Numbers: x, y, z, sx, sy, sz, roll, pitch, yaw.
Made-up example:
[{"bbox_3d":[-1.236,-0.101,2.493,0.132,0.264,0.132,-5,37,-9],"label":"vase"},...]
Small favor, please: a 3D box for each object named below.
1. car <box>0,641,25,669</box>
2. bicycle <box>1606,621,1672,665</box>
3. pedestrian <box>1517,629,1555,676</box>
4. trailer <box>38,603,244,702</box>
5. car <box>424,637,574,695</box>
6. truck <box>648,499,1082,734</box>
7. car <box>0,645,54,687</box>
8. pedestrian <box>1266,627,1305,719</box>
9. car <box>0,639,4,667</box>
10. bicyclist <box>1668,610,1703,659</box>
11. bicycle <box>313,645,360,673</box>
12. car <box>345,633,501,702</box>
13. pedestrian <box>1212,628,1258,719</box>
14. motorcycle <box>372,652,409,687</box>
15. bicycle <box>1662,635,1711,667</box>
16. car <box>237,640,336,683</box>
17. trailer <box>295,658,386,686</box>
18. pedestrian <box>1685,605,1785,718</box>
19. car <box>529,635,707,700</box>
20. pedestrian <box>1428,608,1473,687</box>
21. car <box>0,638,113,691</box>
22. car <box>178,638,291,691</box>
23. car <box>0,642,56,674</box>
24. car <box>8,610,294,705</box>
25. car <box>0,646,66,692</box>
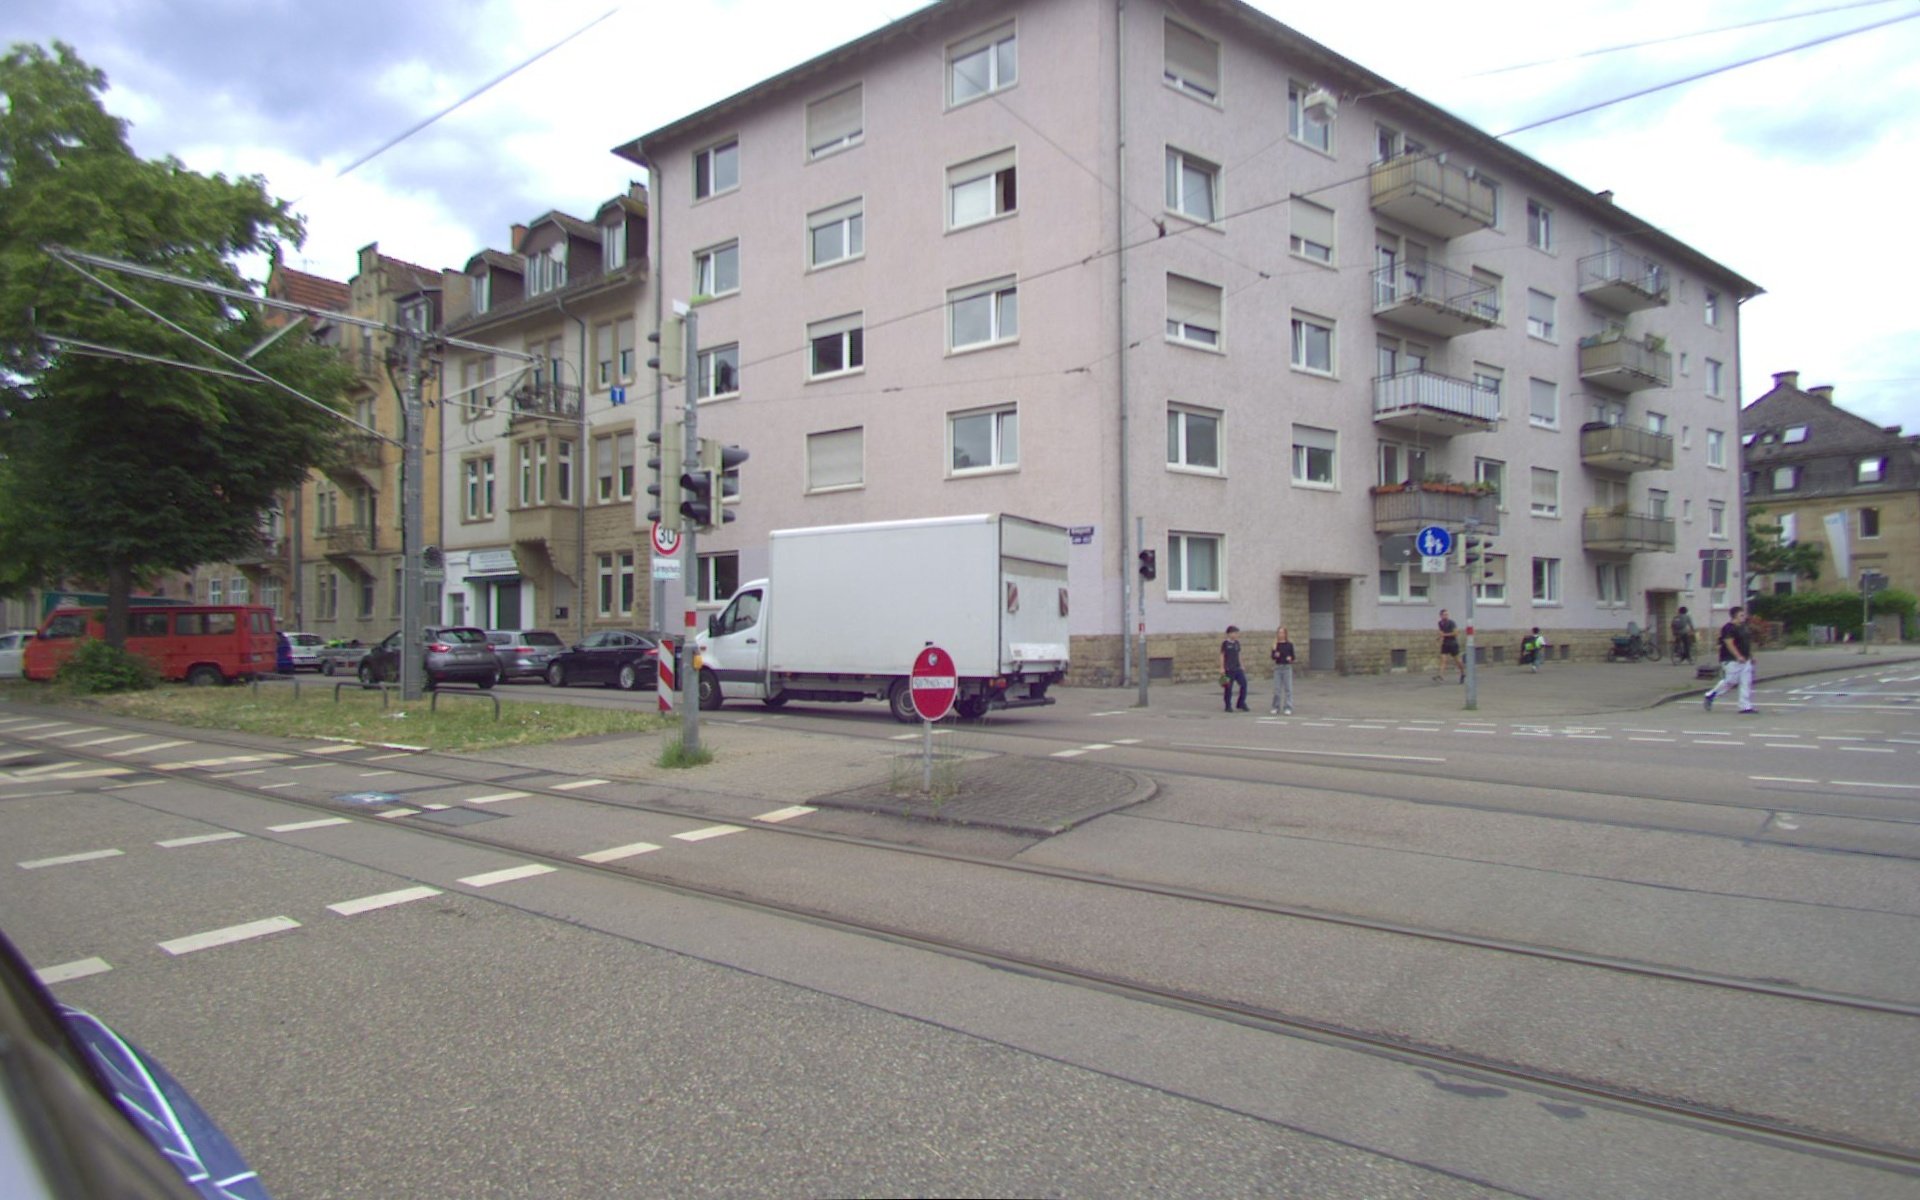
[{"bbox_3d":[-55.549,3.149,58.343,3.713,1.571,1.648,-1,-2,35],"label":"car"},{"bbox_3d":[23.429,1.471,34.905,2.847,1.477,0.885,1,-2,-34],"label":"bicycle"},{"bbox_3d":[16.095,1.453,28.278,0.719,1.298,0.692,1,-3,-39],"label":"pedestrian"},{"bbox_3d":[-20.536,1.286,25.582,3.607,2.362,1.937,0,-2,-22],"label":"trailer"},{"bbox_3d":[-12.759,1.778,27.899,4.558,1.454,1.621,-2,-2,34],"label":"car"},{"bbox_3d":[-1.789,0.314,16.595,7.307,3.181,2.168,-1,-2,32],"label":"truck"},{"bbox_3d":[-35.161,2.339,35.529,4.609,1.446,1.904,0,-2,-16],"label":"car"},{"bbox_3d":[5.614,1.250,17.494,0.565,1.569,0.531,-1,-2,13],"label":"pedestrian"},{"bbox_3d":[-59.610,3.191,61.168,4.309,1.641,1.754,-1,-2,35],"label":"car"},{"bbox_3d":[23.579,1.119,32.890,0.846,1.576,0.660,1,-2,-34],"label":"bicyclist"},{"bbox_3d":[-24.990,2.358,40.539,2.253,1.081,0.705,-2,-2,34],"label":"bicycle"},{"bbox_3d":[-13.178,1.595,24.760,4.121,1.546,1.630,-1,-2,34],"label":"car"},{"bbox_3d":[4.850,1.278,17.856,0.562,1.569,0.534,2,-3,-41],"label":"pedestrian"},{"bbox_3d":[-18.301,2.204,32.525,0.699,1.046,2.234,1,-2,-38],"label":"motorcycle"},{"bbox_3d":[23.631,1.639,32.909,1.933,1.010,0.658,1,-2,-35],"label":"bicycle"},{"bbox_3d":[-24.447,2.198,36.718,3.912,1.454,1.621,-2,-2,34],"label":"car"},{"bbox_3d":[-20.807,2.393,33.976,3.068,0.899,1.442,-2,-4,34],"label":"trailer"},{"bbox_3d":[13.488,1.052,17.639,0.821,1.889,1.049,0,-2,-19],"label":"pedestrian"},{"bbox_3d":[-8.493,1.611,24.948,4.749,1.454,1.621,-2,-2,34],"label":"car"},{"bbox_3d":[11.518,1.103,23.765,0.711,1.827,0.684,1,-3,-39],"label":"pedestrian"},{"bbox_3d":[-27.170,1.847,29.226,3.799,1.474,1.694,0,-2,-13],"label":"car"},{"bbox_3d":[-22.681,1.978,31.611,3.618,1.546,1.631,-1,-2,33],"label":"car"},{"bbox_3d":[-51.548,3.145,55.662,4.542,1.639,1.726,-1,-2,35],"label":"car"},{"bbox_3d":[-18.225,1.263,23.084,4.686,1.989,1.965,0,-2,-17],"label":"car"},{"bbox_3d":[-32.516,2.280,33.295,4.268,1.446,1.903,0,-2,-13],"label":"car"}]
